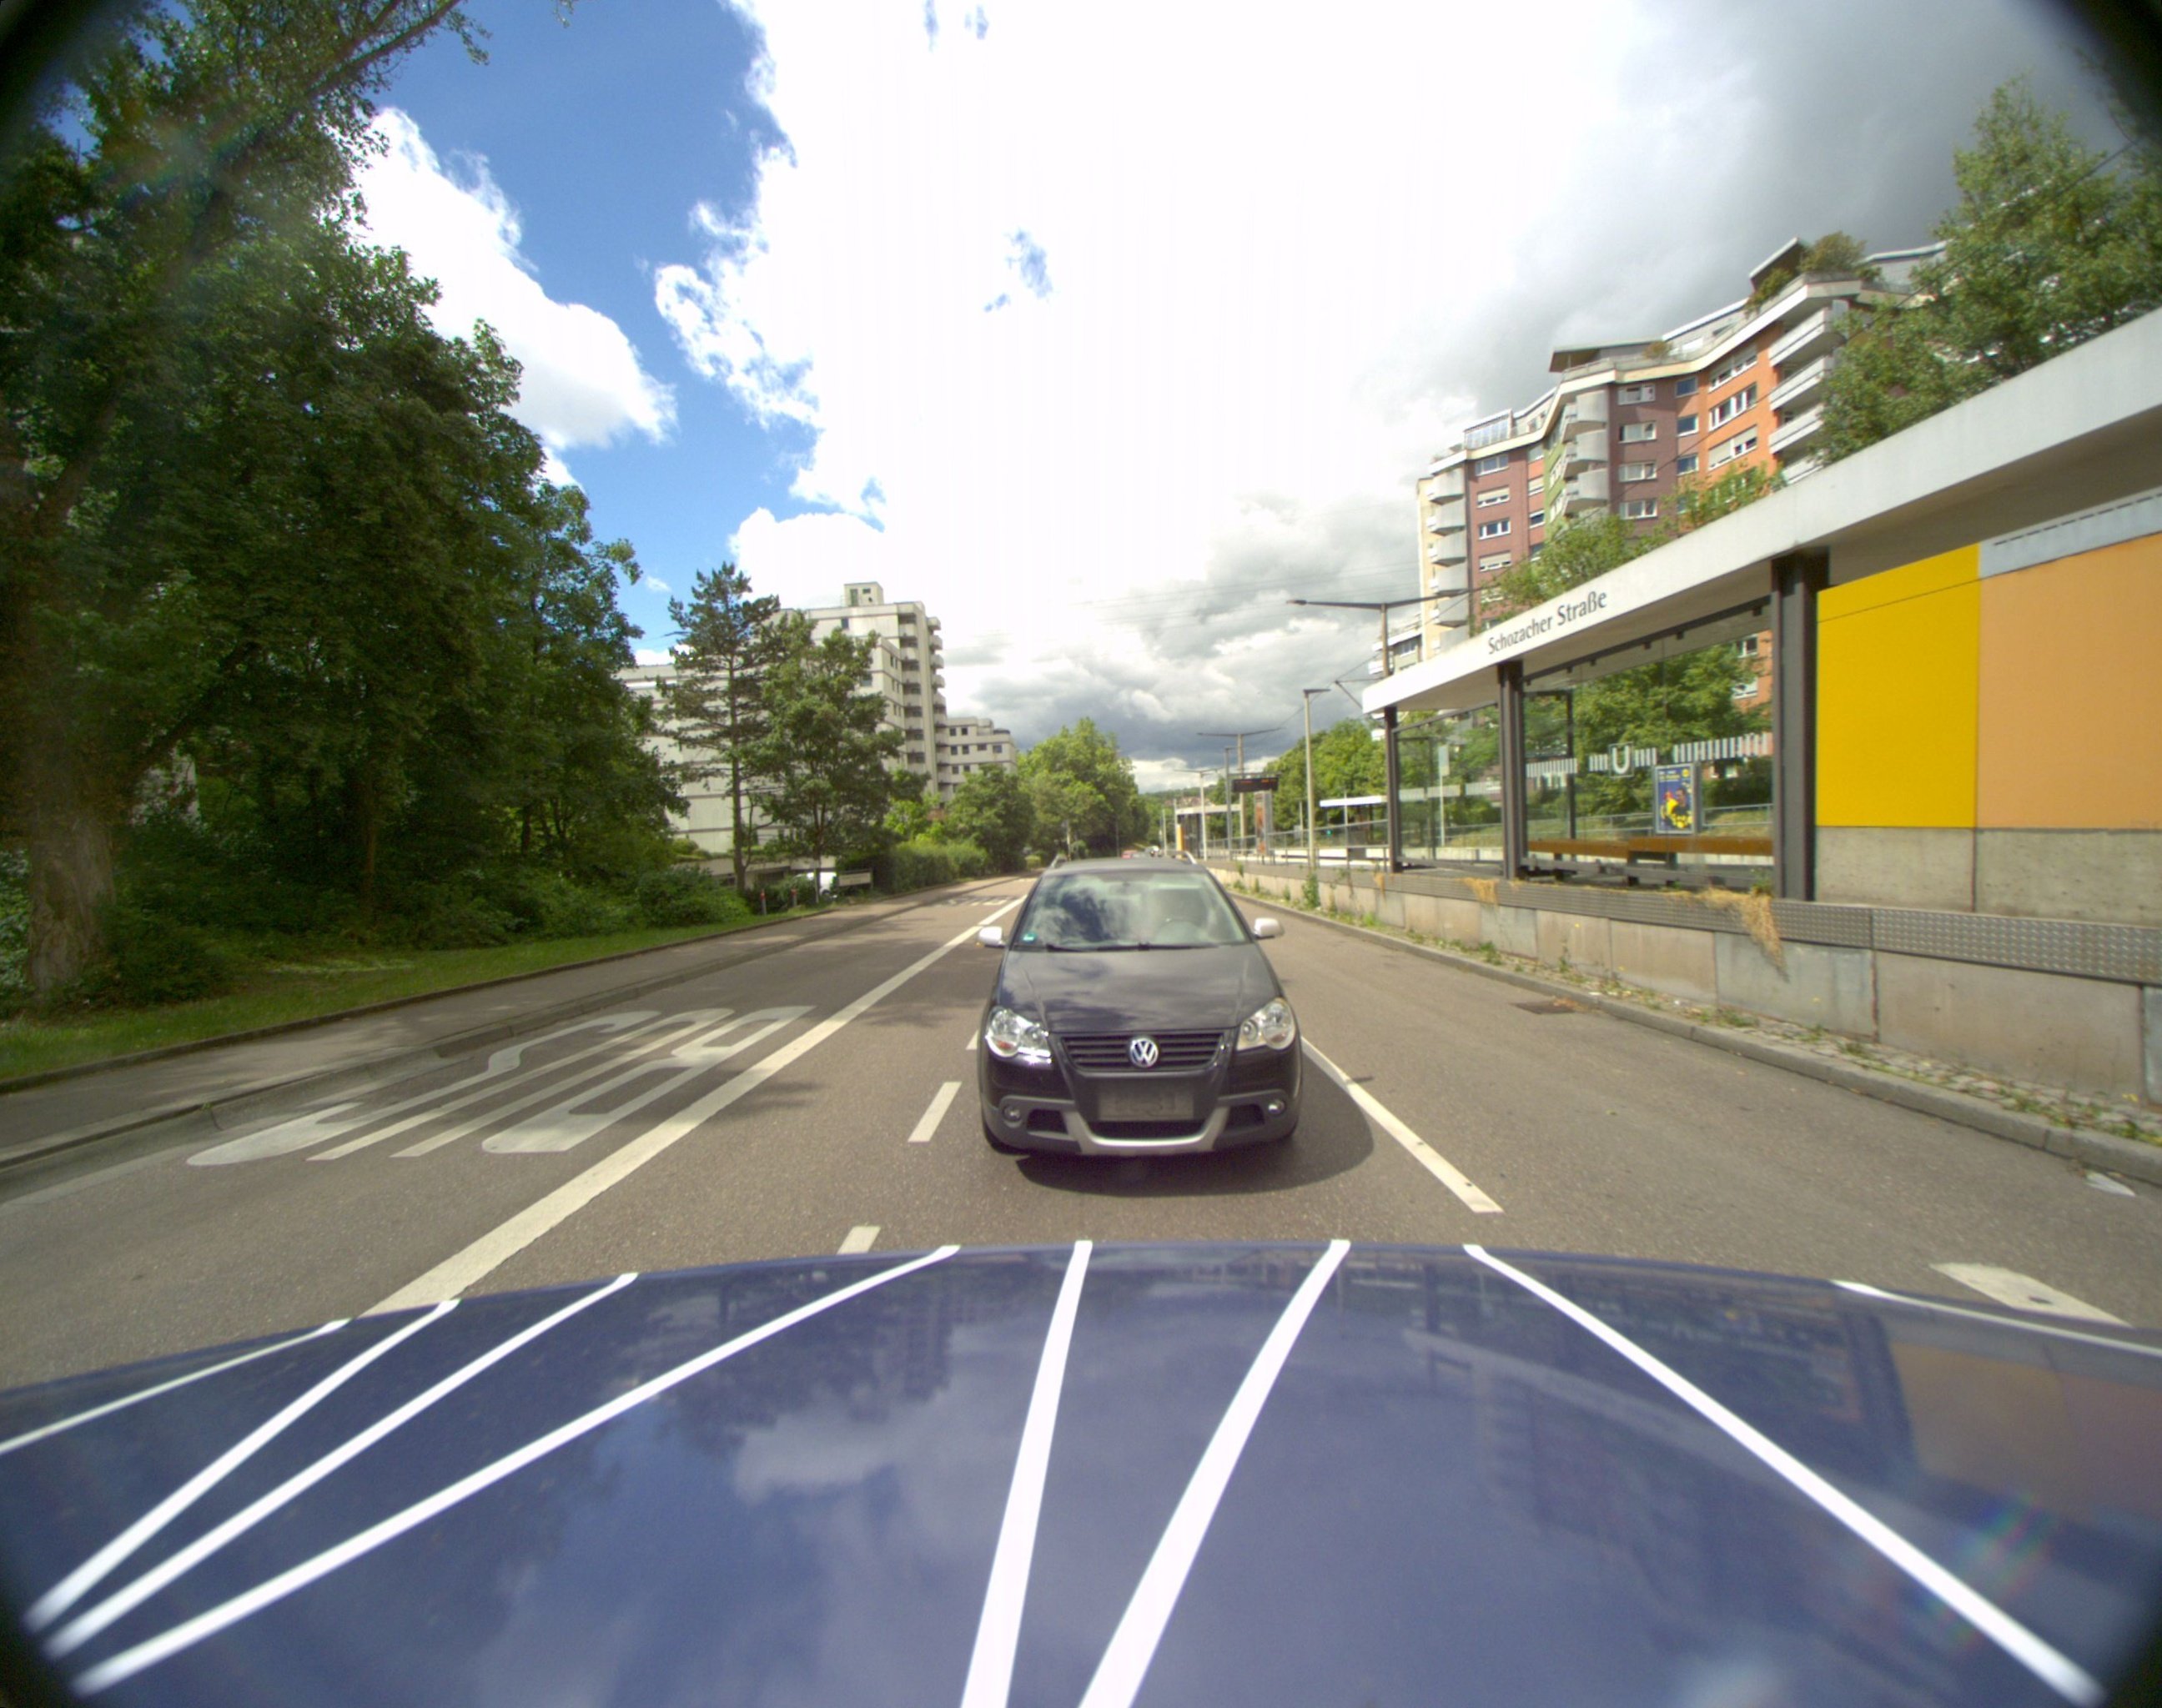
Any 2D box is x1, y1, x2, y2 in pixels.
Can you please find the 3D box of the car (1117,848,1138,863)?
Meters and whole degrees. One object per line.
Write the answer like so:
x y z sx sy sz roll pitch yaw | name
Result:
4.460 0.113 73.189 1.821 1.377 4.065 -2 1 2 | car

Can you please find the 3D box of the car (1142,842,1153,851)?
10.936 -1.233 125.287 1.643 1.395 3.708 -2 1 4 | car

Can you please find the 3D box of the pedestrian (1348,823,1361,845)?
16.024 -1.151 44.542 0.536 1.270 0.562 -2 1 4 | pedestrian

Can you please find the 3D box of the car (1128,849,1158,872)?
4.249 0.431 52.448 1.821 1.377 4.065 -2 1 2 | car

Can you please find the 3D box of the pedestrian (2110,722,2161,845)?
15.089 -0.992 10.854 0.354 1.703 0.426 -3 2 -41 | pedestrian

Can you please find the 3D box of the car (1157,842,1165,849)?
18.912 -2.020 179.689 1.801 1.698 4.001 -2 1 7 | car

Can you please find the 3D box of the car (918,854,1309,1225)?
0.232 0.823 5.311 1.641 1.521 4.000 -2 1 3 | car

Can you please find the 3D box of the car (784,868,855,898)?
-19.878 2.227 57.813 4.543 2.002 2.001 -2 1 7 | car

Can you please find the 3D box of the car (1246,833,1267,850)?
22.172 -1.603 96.152 1.737 2.002 4.000 -2 1 2 | car

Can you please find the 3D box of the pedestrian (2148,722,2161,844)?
15.365 -1.002 10.572 0.387 1.703 0.550 -3 2 -43 | pedestrian
